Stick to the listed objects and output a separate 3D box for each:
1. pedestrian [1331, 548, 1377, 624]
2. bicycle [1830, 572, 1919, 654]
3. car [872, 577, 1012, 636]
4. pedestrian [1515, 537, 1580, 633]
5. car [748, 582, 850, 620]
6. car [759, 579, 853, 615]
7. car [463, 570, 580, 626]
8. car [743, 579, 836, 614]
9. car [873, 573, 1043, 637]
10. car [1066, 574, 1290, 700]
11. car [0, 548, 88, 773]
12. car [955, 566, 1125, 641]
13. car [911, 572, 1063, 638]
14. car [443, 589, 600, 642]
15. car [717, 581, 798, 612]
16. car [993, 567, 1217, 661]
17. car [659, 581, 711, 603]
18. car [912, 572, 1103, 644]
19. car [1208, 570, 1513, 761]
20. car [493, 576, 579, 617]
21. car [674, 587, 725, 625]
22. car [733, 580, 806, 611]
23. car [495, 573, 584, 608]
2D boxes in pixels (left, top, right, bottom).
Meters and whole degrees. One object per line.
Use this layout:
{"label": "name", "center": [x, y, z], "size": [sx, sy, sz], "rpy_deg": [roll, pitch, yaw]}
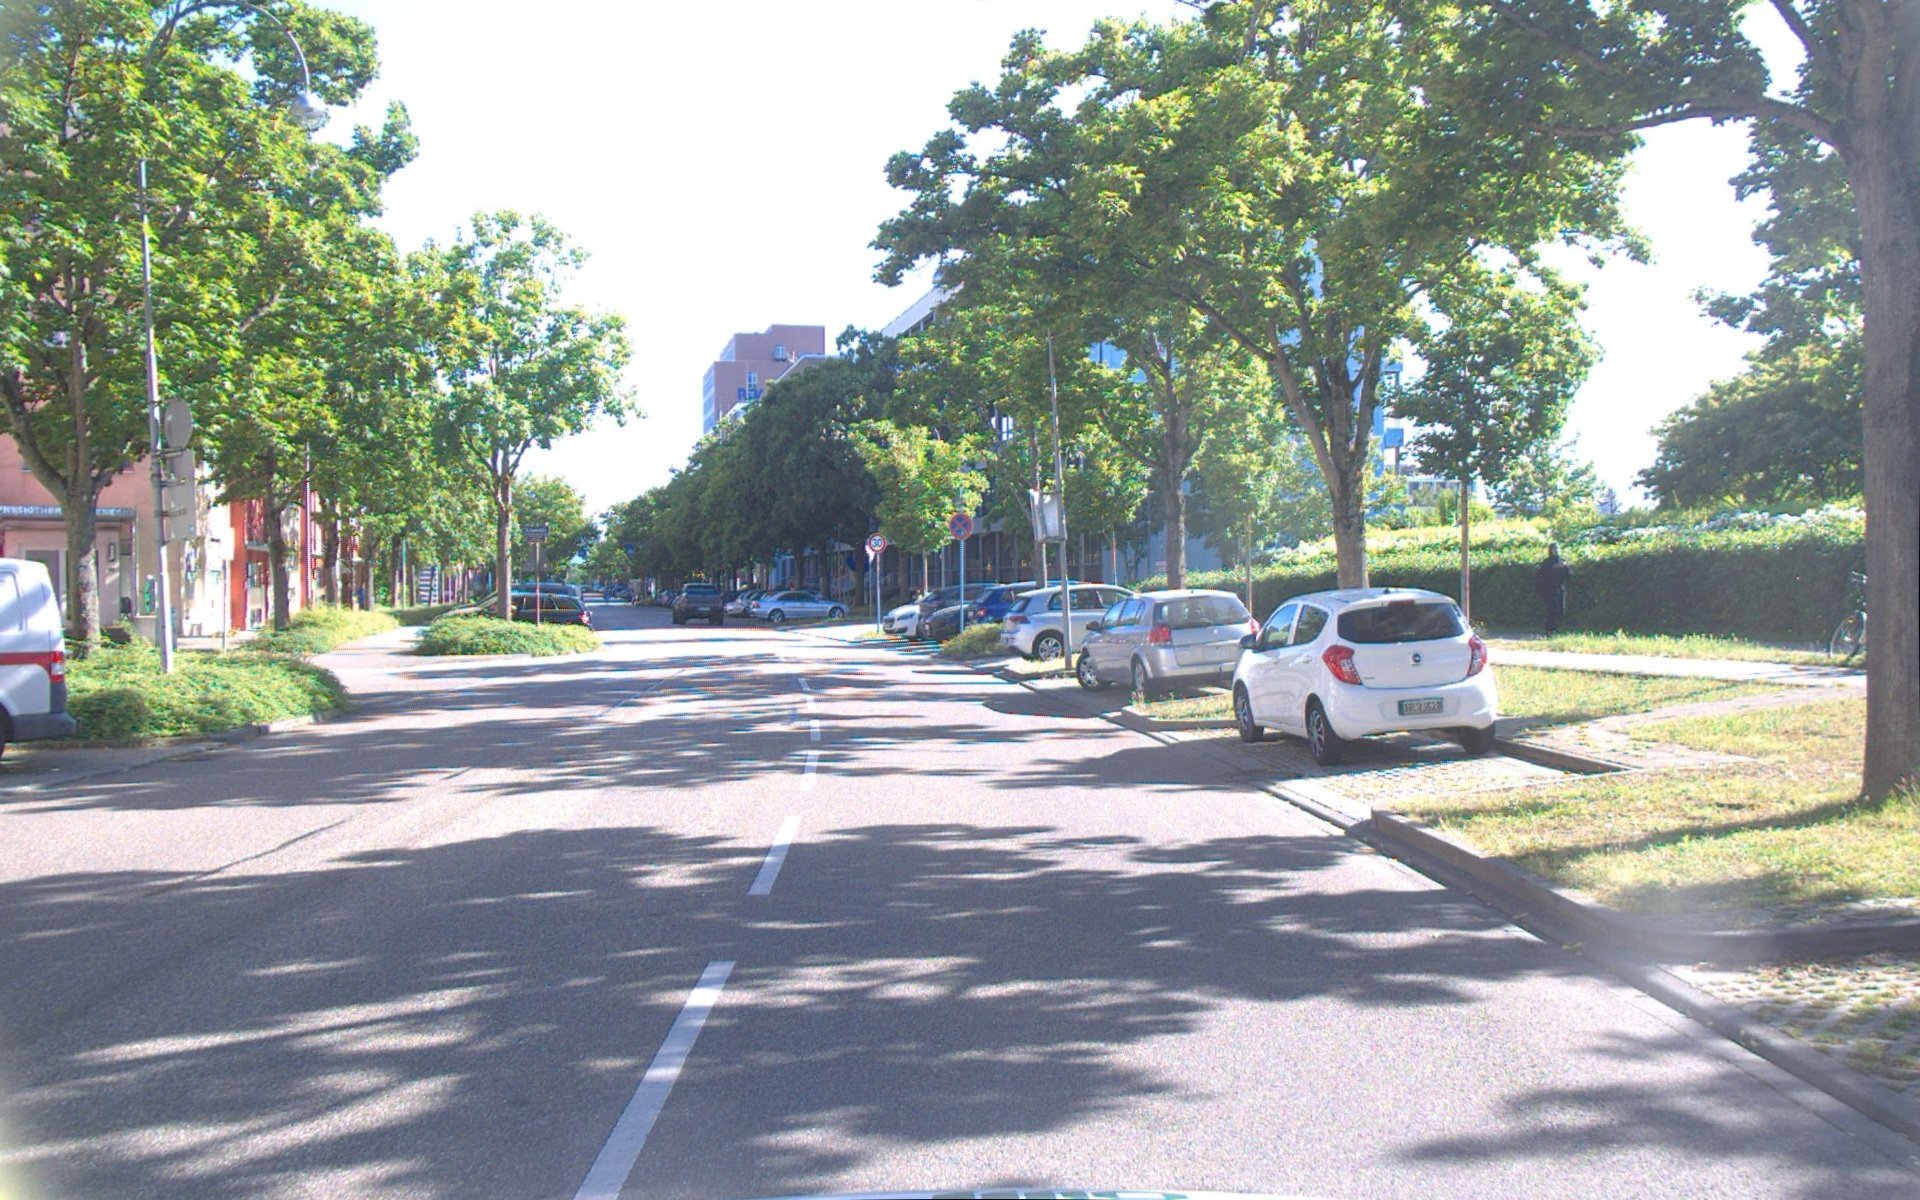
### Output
{"label": "pedestrian", "center": [8.351, -0.302, 35.082], "size": [0.596, 1.569, 0.934], "rpy_deg": [-1, 0, -12]}
{"label": "bicycle", "center": [10.391, 0.139, 18.315], "size": [0.342, 0.881, 1.398], "rpy_deg": [-2, 1, -25]}
{"label": "car", "center": [-0.547, 0.186, 50.335], "size": [3.890, 1.541, 1.692], "rpy_deg": [-4, 0, -20]}
{"label": "pedestrian", "center": [10.143, -0.256, 28.571], "size": [0.711, 1.615, 0.850], "rpy_deg": [-1, 0, -12]}
{"label": "car", "center": [-7.503, 0.034, 77.029], "size": [4.500, 1.501, 1.741], "rpy_deg": [-3, 1, -14]}
{"label": "car", "center": [-7.668, -0.172, 82.214], "size": [4.434, 1.569, 1.917], "rpy_deg": [-3, 1, -10]}
{"label": "car", "center": [-15.031, -0.062, 56.861], "size": [3.826, 1.843, 1.779], "rpy_deg": [1, 0, -14]}
{"label": "car", "center": [-8.829, -0.175, 85.372], "size": [4.446, 1.569, 1.912], "rpy_deg": [-3, 1, -18]}
{"label": "car", "center": [-0.070, 0.132, 47.784], "size": [4.483, 1.541, 1.971], "rpy_deg": [-4, 0, -20]}
{"label": "car", "center": [2.994, 0.466, 23.767], "size": [1.777, 1.519, 4.612], "rpy_deg": [-4, 1, -11]}
{"label": "car", "center": [-10.495, 0.531, 14.589], "size": [4.723, 2.019, 1.973], "rpy_deg": [0, 1, -39]}
{"label": "car", "center": [1.918, 0.075, 40.216], "size": [3.740, 1.473, 1.739], "rpy_deg": [-5, 1, -12]}
{"label": "car", "center": [0.724, 0.119, 45.348], "size": [3.810, 1.541, 1.745], "rpy_deg": [-4, 0, -14]}
{"label": "car", "center": [-12.498, 0.439, 47.399], "size": [4.186, 1.448, 1.735], "rpy_deg": [1, 0, -11]}
{"label": "car", "center": [-11.494, -0.207, 93.920], "size": [4.224, 1.519, 1.992], "rpy_deg": [-3, 1, -21]}
{"label": "car", "center": [2.792, 0.258, 32.287], "size": [4.013, 1.454, 1.640], "rpy_deg": [-5, 1, -7]}
{"label": "car", "center": [-24.020, -0.724, 144.560], "size": [4.282, 1.733, 1.804], "rpy_deg": [-3, 1, -17]}
{"label": "car", "center": [1.202, 0.192, 42.846], "size": [4.473, 1.541, 2.151], "rpy_deg": [-4, 0, -14]}
{"label": "car", "center": [3.699, 0.535, 15.942], "size": [1.612, 1.519, 3.760], "rpy_deg": [-4, 1, -6]}
{"label": "car", "center": [-23.199, -0.190, 90.695], "size": [4.409, 2.126, 2.076], "rpy_deg": [1, 0, -12]}
{"label": "car", "center": [-11.866, 0.248, 75.271], "size": [1.960, 1.668, 3.985], "rpy_deg": [1, 0, -14]}
{"label": "car", "center": [-10.551, -0.243, 91.414], "size": [3.689, 1.519, 1.607], "rpy_deg": [-3, 1, -21]}
{"label": "car", "center": [-25.518, -0.564, 100.407], "size": [5.169, 2.001, 1.936], "rpy_deg": [1, 0, -14]}
